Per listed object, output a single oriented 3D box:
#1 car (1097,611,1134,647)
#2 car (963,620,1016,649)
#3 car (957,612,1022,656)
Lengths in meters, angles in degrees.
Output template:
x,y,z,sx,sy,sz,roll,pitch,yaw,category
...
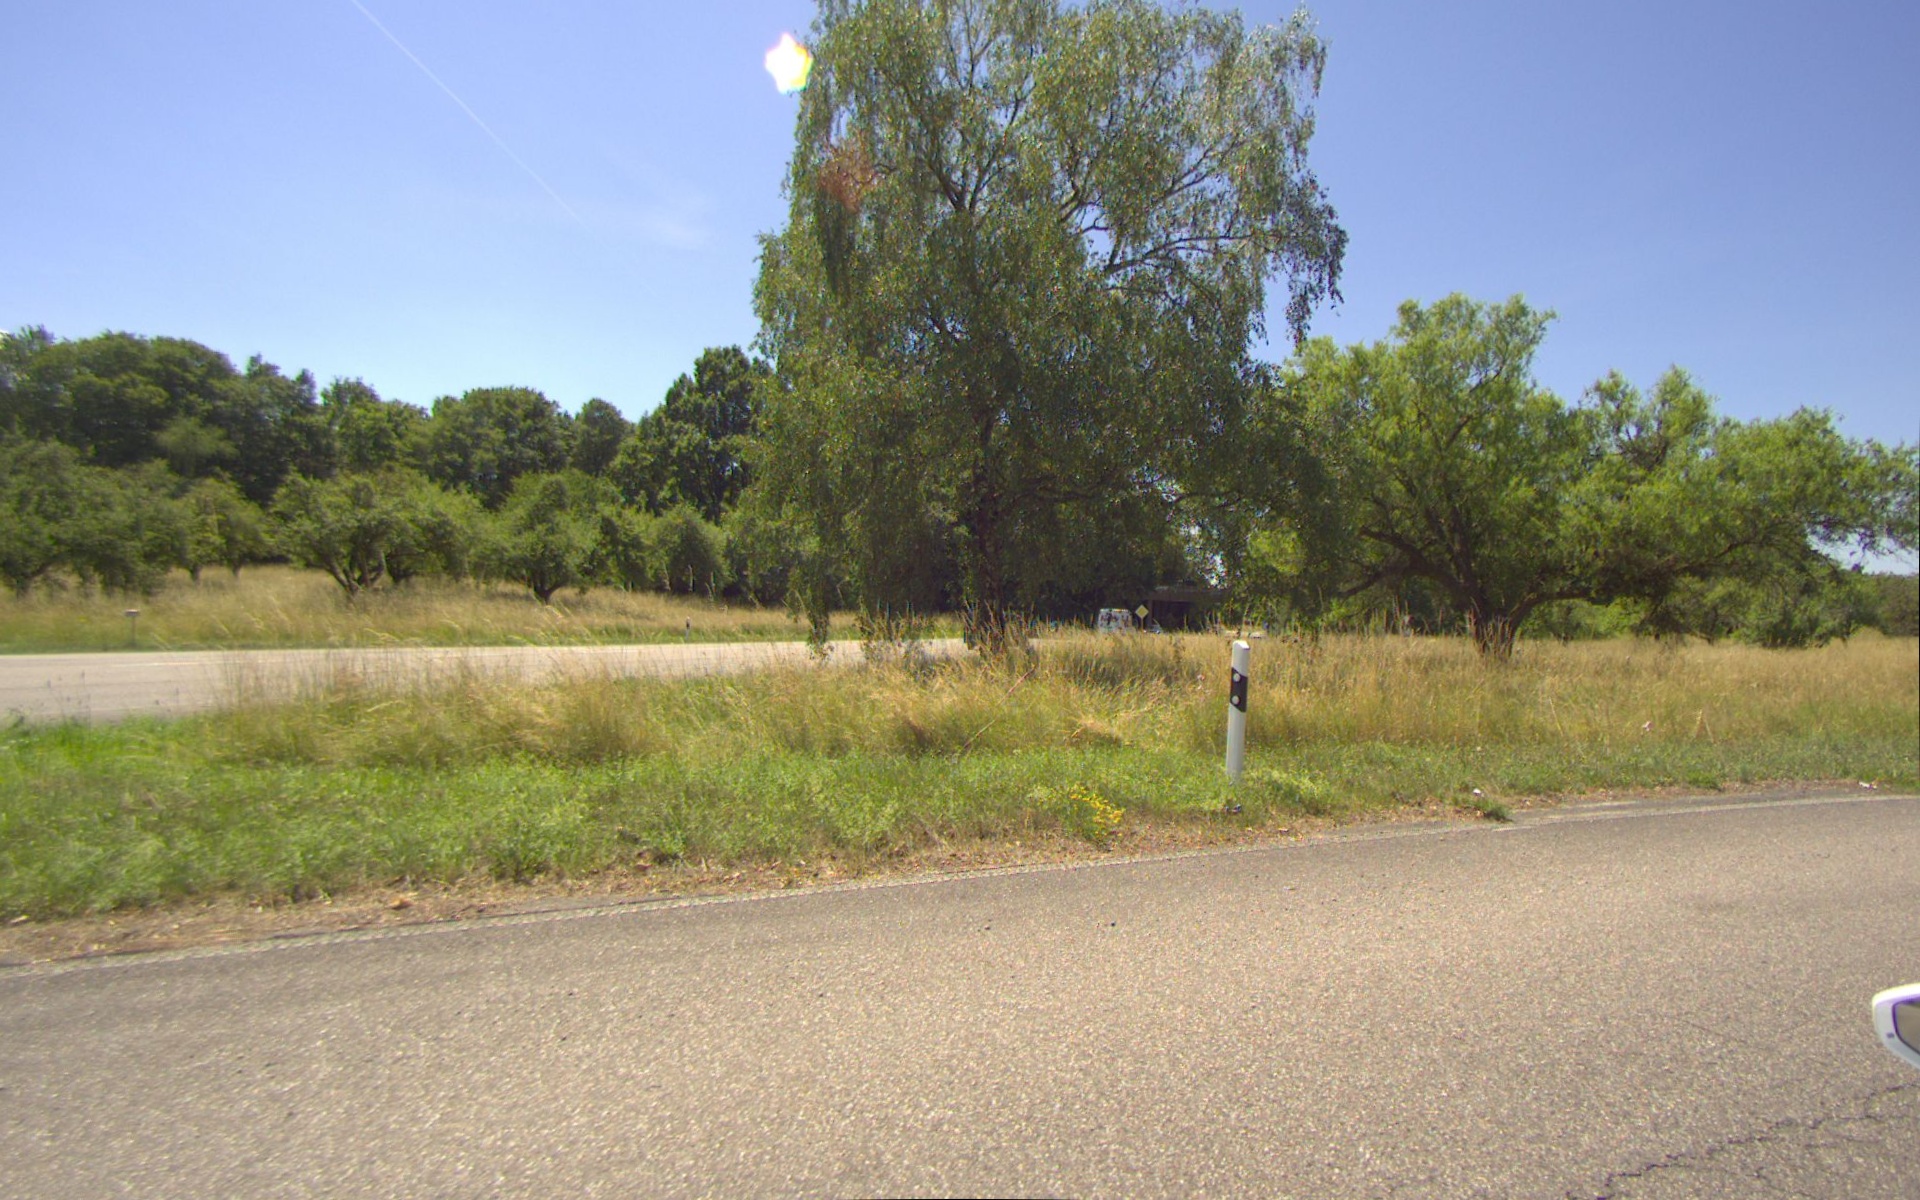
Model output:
x,y,z,sx,sy,sz,roll,pitch,yaw,category
11.828,2.175,76.409,2.081,2.534,4.091,3,0,17,car
1.896,2.148,63.230,2.082,1.656,4.090,3,0,19,car
1.522,1.665,49.516,1.960,1.973,4.090,3,0,19,car
